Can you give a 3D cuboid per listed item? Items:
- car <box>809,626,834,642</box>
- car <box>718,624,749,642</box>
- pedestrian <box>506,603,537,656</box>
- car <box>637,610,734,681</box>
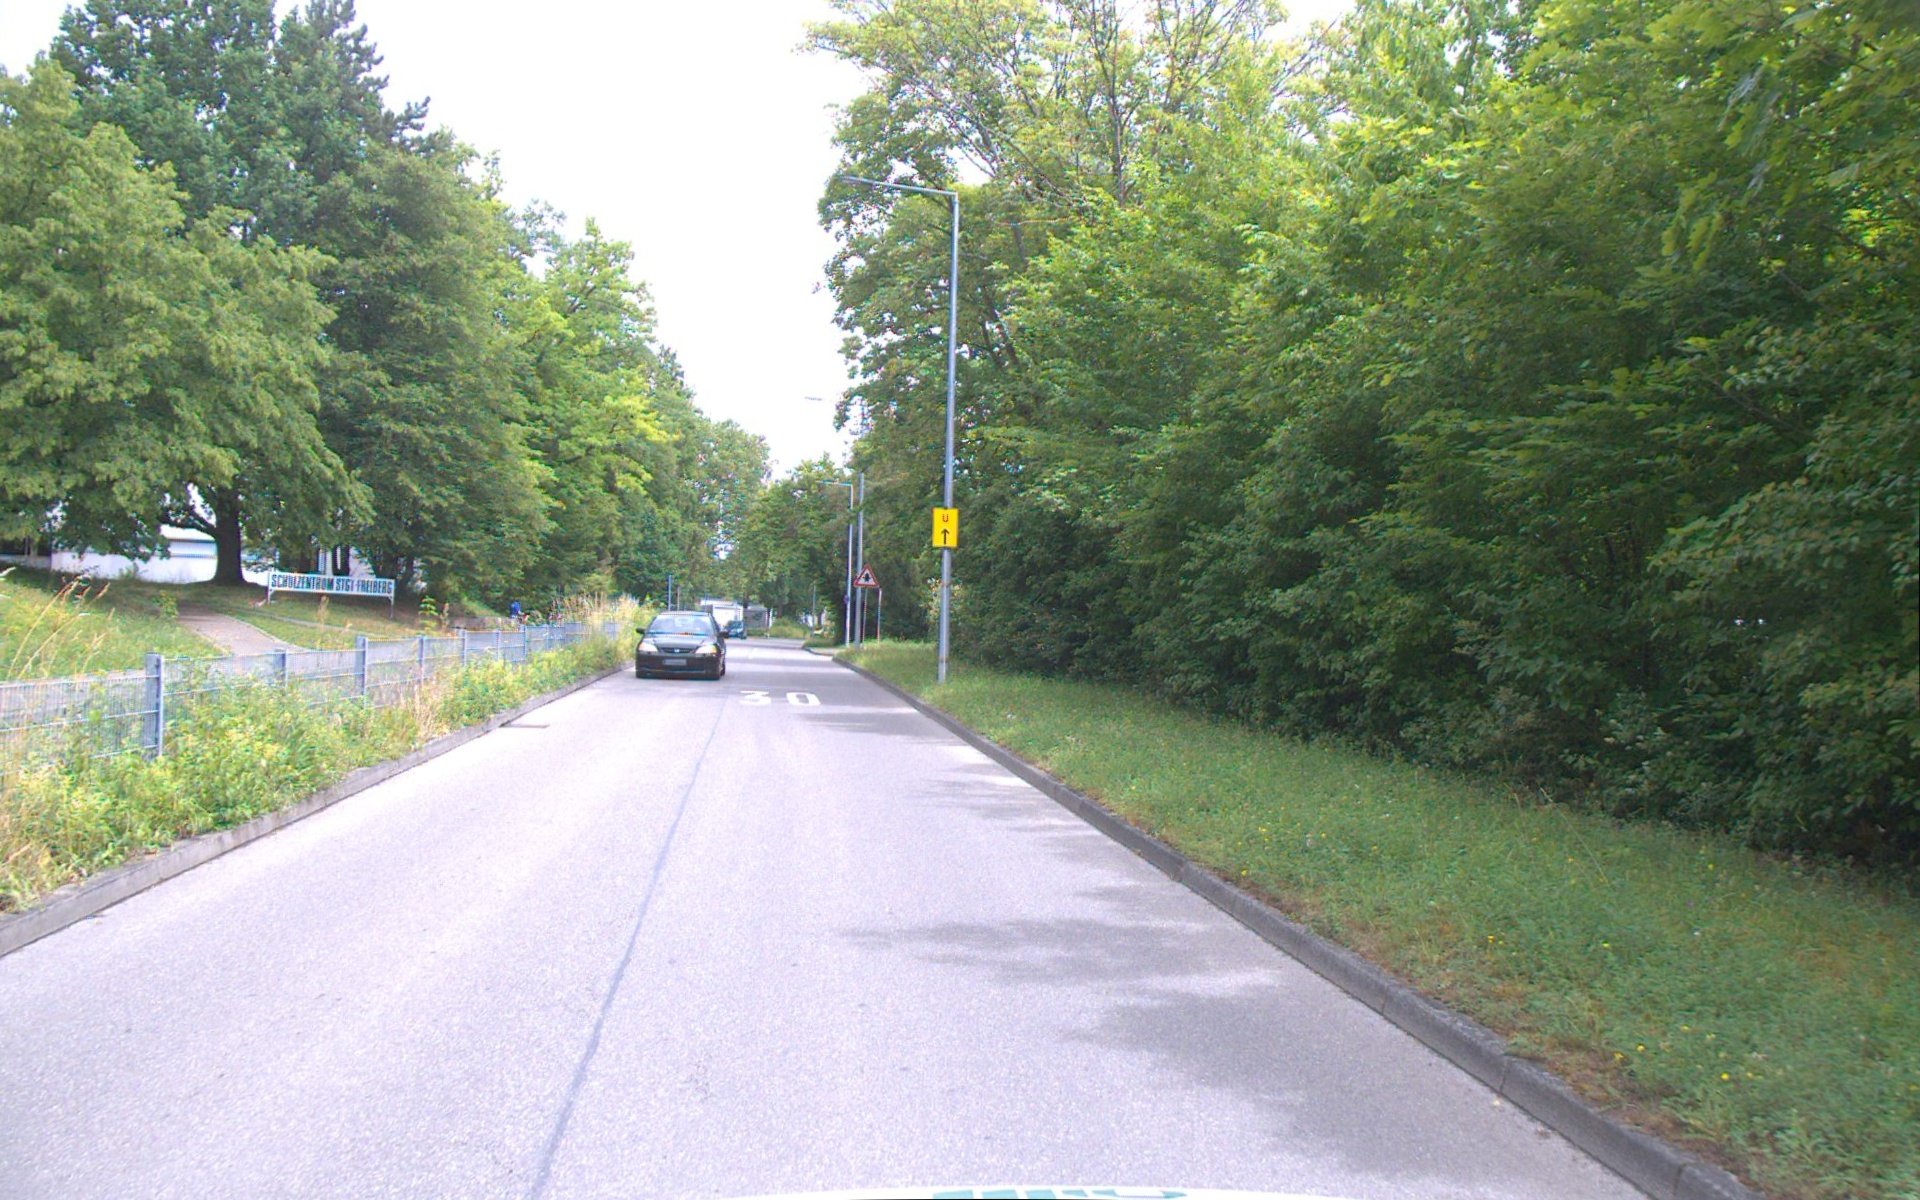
[{"bbox_3d":[-14.554,3.556,174.408,1.820,1.518,4.002,-1,-4,7],"label":"car"},{"bbox_3d":[-18.667,2.716,136.278,1.938,1.408,4.000,2,-1,1],"label":"car"},{"bbox_3d":[-17.337,1.178,65.379,0.861,2.049,0.863,-4,-5,38],"label":"pedestrian"},{"bbox_3d":[-5.661,0.911,34.482,1.660,1.372,4.089,1,0,-5],"label":"car"}]
